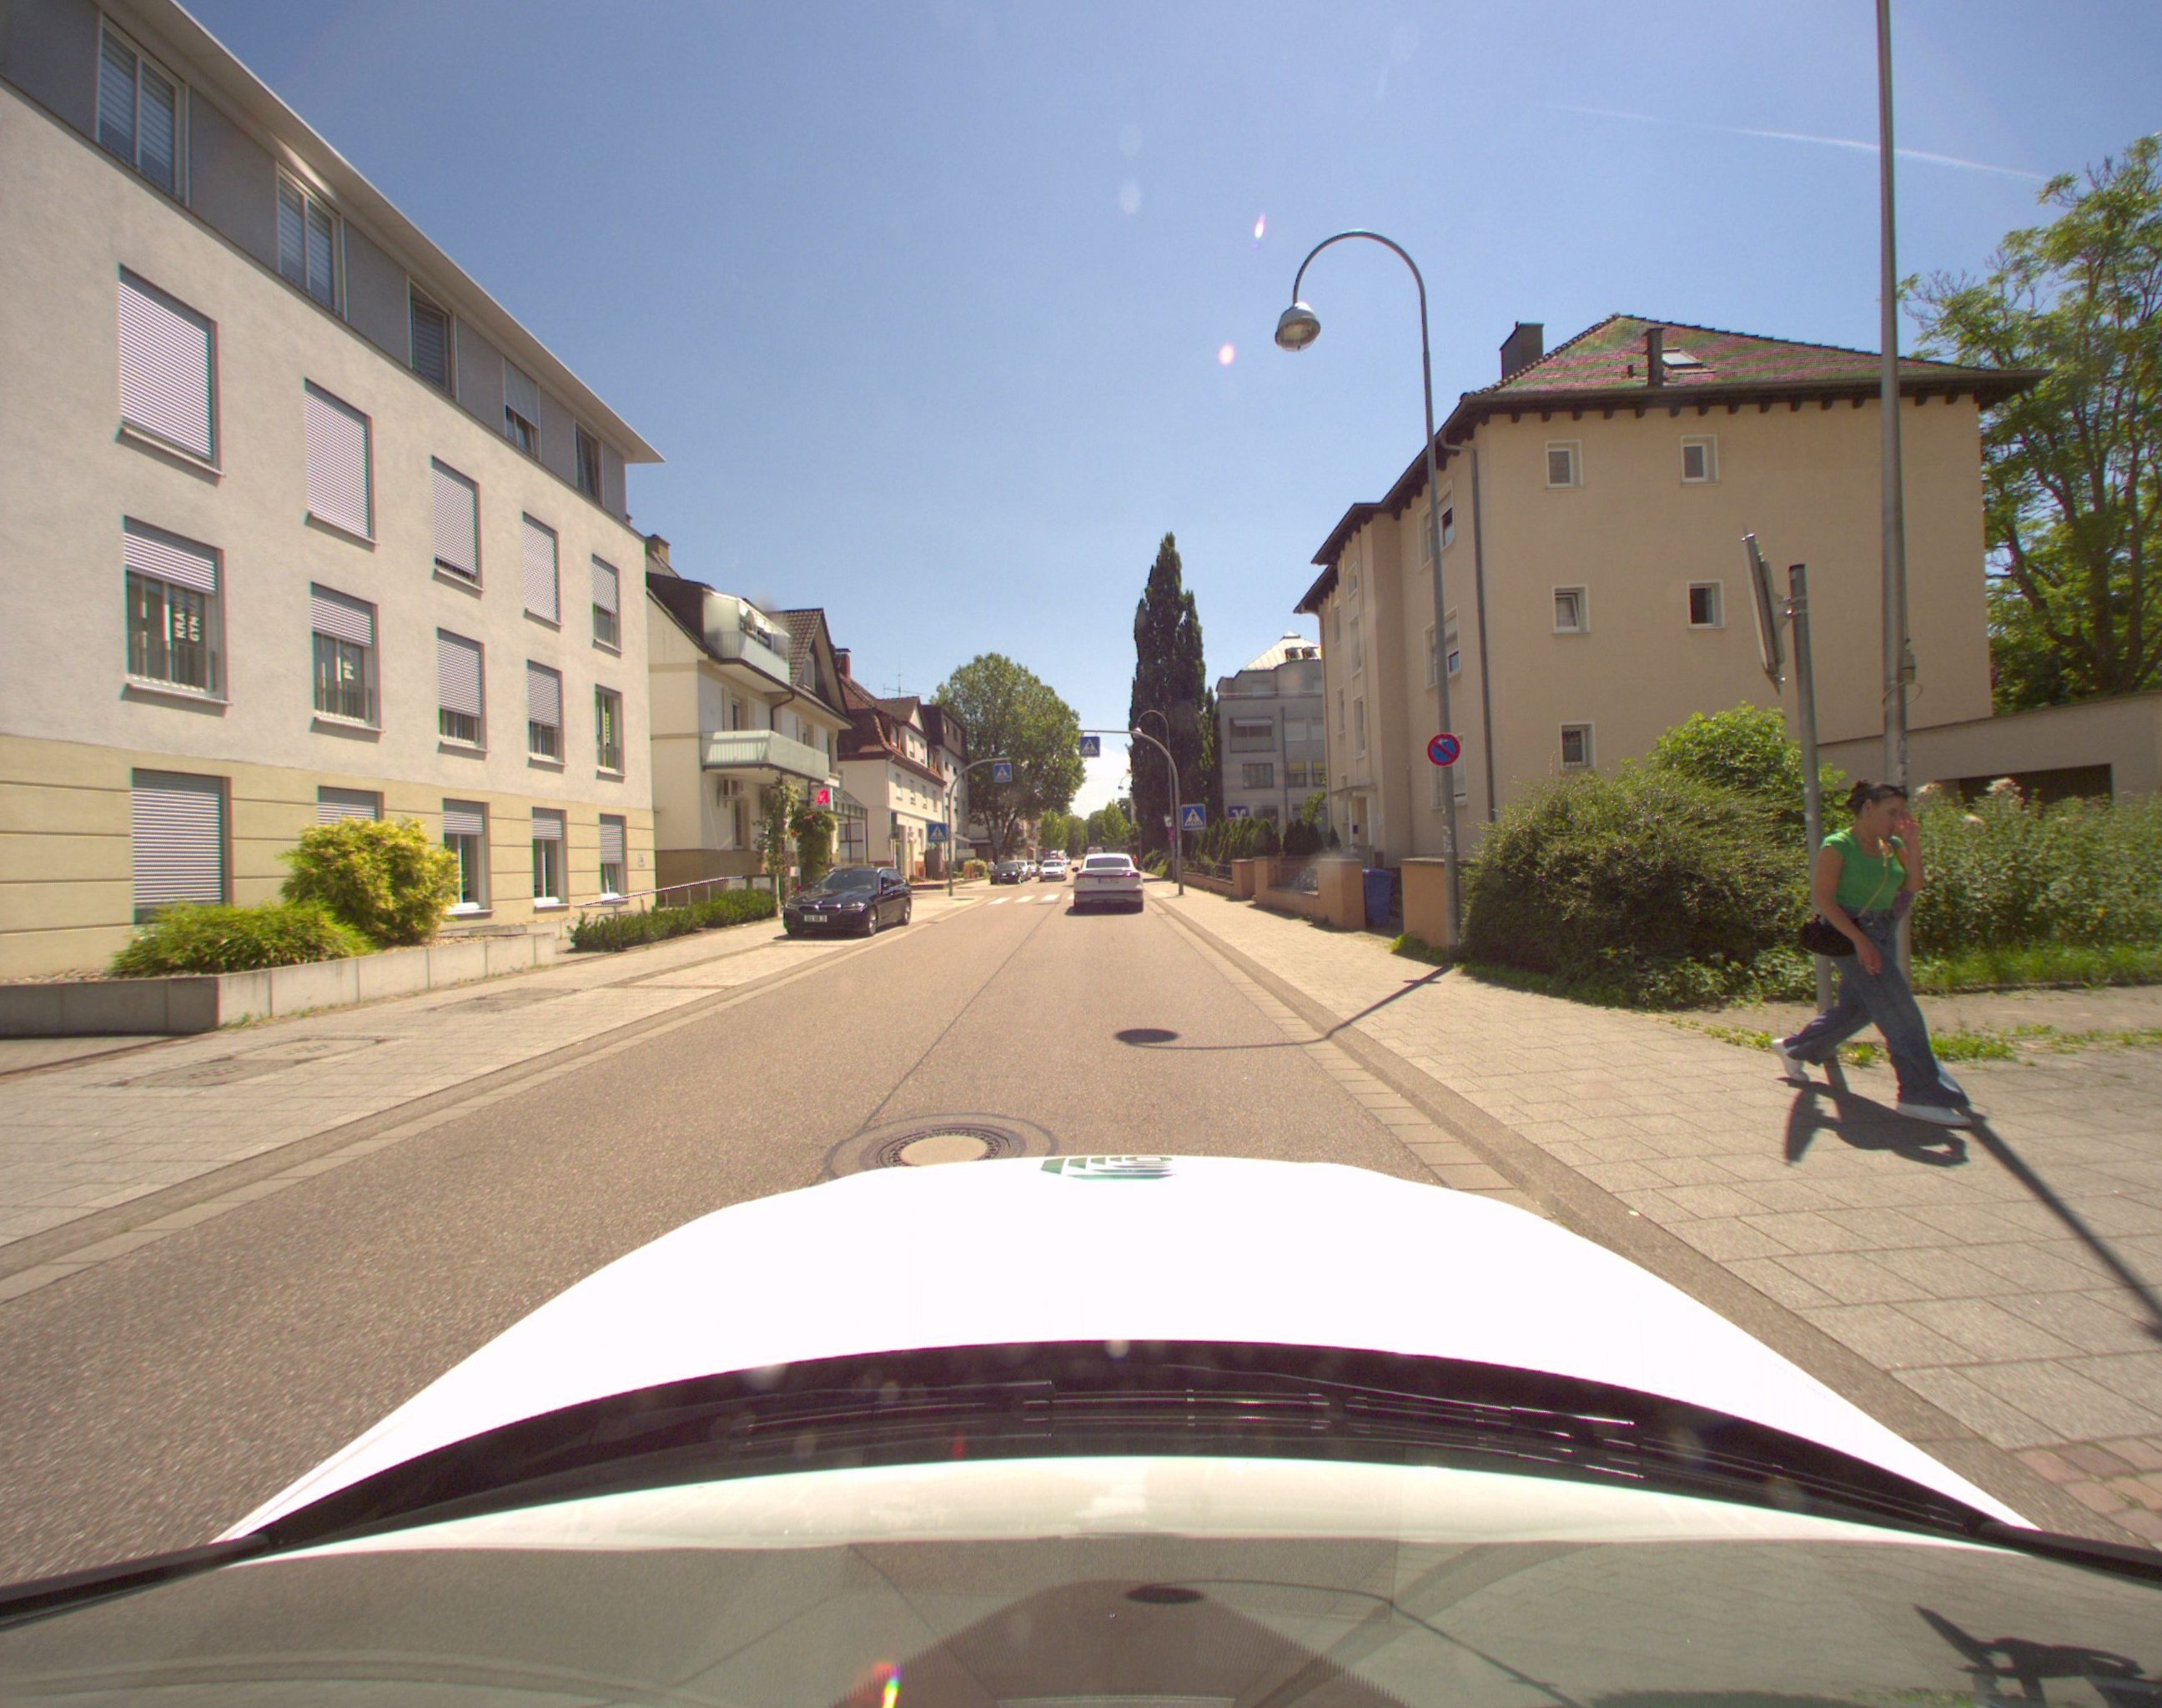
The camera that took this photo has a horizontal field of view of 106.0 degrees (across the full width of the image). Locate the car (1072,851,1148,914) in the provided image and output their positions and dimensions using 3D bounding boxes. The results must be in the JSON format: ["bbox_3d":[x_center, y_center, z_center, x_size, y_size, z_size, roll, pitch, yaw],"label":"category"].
[{"bbox_3d":[0.765,0.751,23.391,1.987,1.633,3.999,-1,0,0],"label":"car"}]

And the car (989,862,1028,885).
[{"bbox_3d":[-4.689,1.232,53.212,1.935,1.373,5.099,-2,0,2],"label":"car"}]

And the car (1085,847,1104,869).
[{"bbox_3d":[1.548,0.459,94.784,2.148,2.442,5.284,0,-1,1],"label":"car"}]

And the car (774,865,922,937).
[{"bbox_3d":[-5.333,1.008,19.477,1.909,1.452,5.151,1,0,2],"label":"car"}]

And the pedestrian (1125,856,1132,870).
[{"bbox_3d":[6.080,1.154,104.295,0.698,1.626,0.783,-5,-1,-1],"label":"pedestrian"}]

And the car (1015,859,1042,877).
[{"bbox_3d":[-4.538,1.222,71.007,1.974,1.452,4.867,-1,0,0],"label":"car"}]

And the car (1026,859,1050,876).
[{"bbox_3d":[-4.033,1.271,76.899,1.974,1.452,5.150,-1,0,0],"label":"car"}]

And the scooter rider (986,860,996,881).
[{"bbox_3d":[-7.044,1.285,63.699,0.586,1.575,0.878,0,0,2],"label":"scooter rider"}]

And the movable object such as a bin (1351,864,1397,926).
[{"bbox_3d":[5.484,0.761,15.262,0.622,1.099,0.633,-3,-1,3],"label":"movable object such as a bin"}]

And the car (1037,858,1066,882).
[{"bbox_3d":[-2.003,1.101,55.912,1.802,1.482,3.867,-4,-1,-1],"label":"car"}]

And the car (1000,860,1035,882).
[{"bbox_3d":[-4.542,1.200,59.281,1.973,1.452,5.359,-1,0,2],"label":"car"}]

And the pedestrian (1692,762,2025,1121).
[{"bbox_3d":[4.216,0.423,4.508,0.680,1.700,1.044,-4,-1,-15],"label":"pedestrian"}]

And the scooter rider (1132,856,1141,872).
[{"bbox_3d":[5.397,0.969,79.083,0.714,1.548,0.770,-3,0,-1],"label":"scooter rider"}]

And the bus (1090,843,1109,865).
[{"bbox_3d":[2.825,0.100,123.190,2.649,3.221,7.308,0,-1,4],"label":"bus"}]

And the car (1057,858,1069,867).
[{"bbox_3d":[-3.141,1.446,141.762,1.745,1.618,4.403,0,0,2],"label":"car"}]
